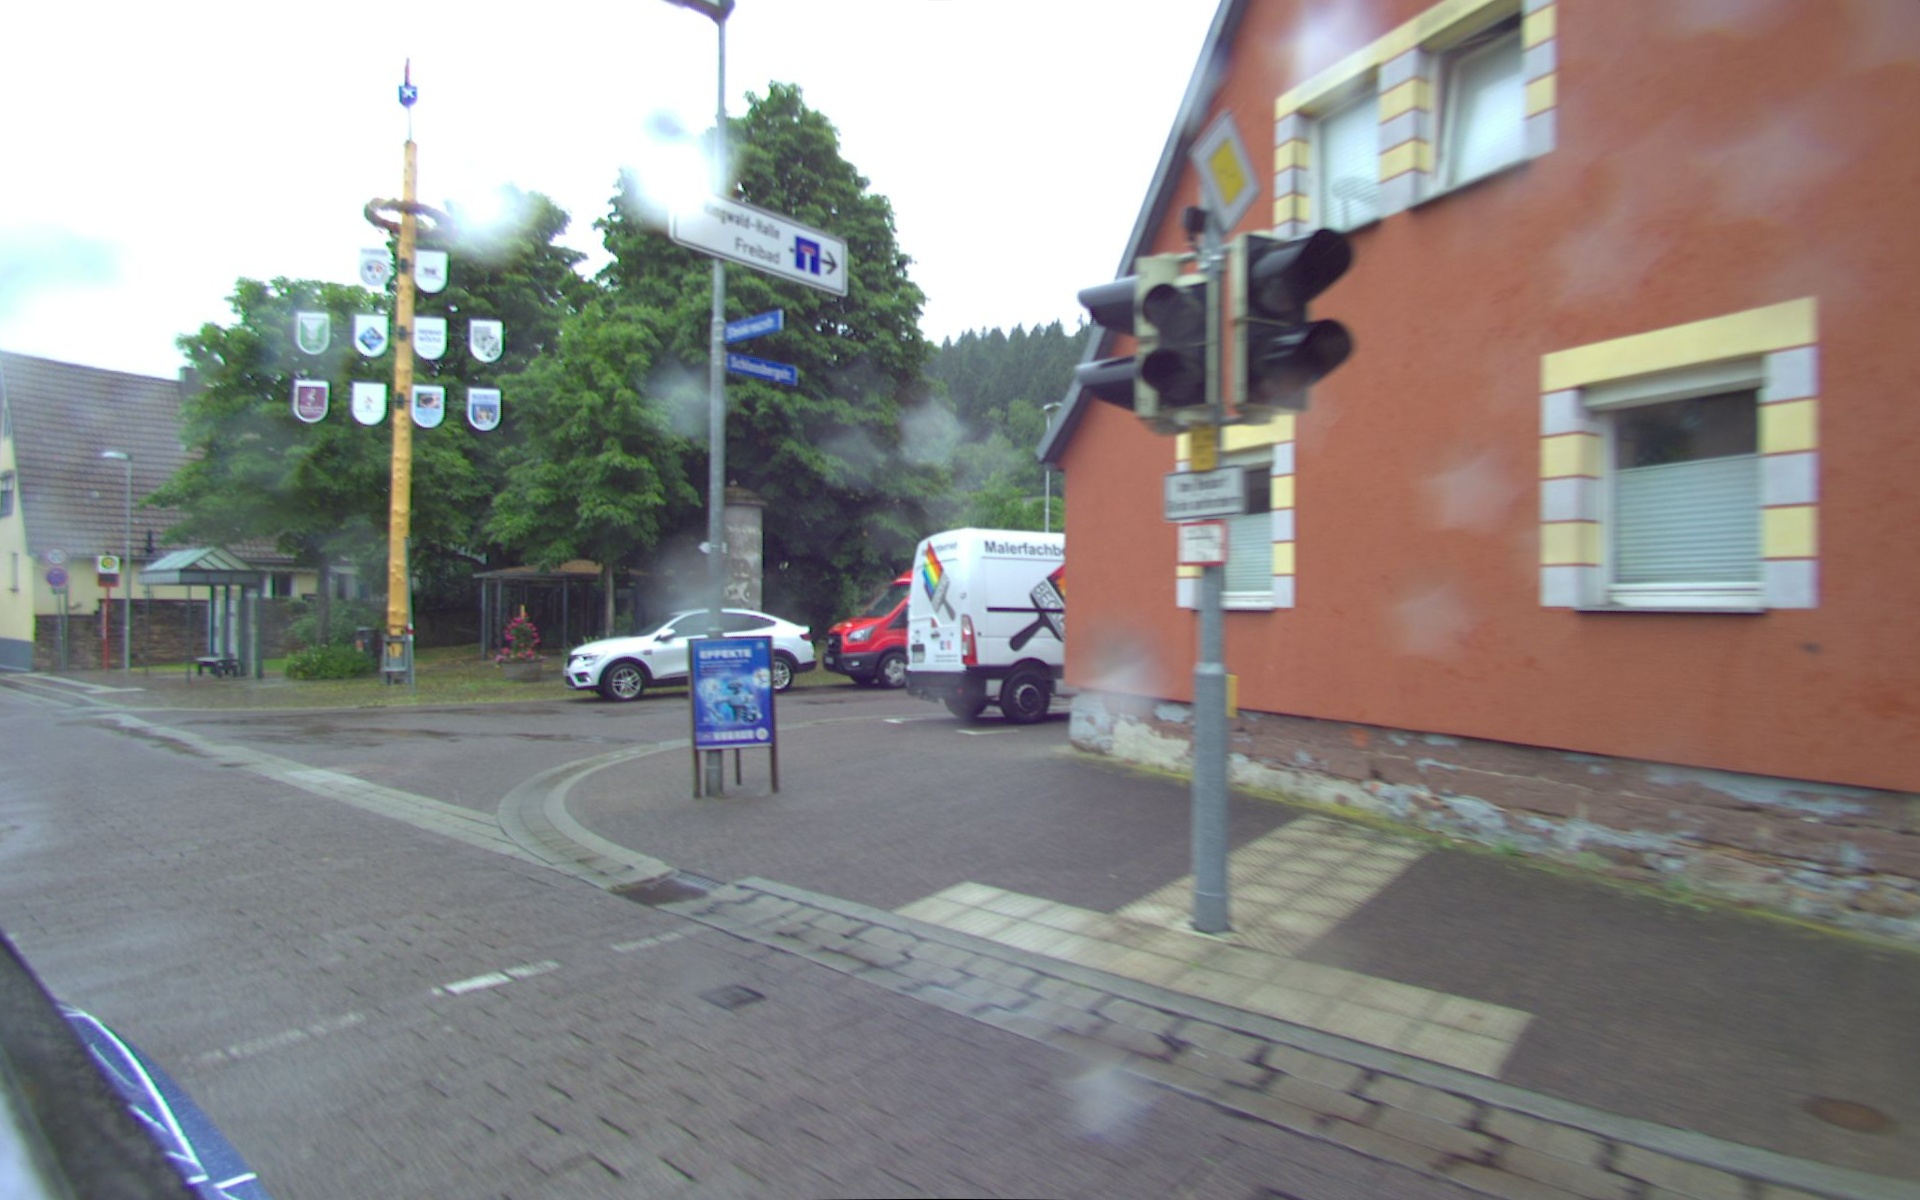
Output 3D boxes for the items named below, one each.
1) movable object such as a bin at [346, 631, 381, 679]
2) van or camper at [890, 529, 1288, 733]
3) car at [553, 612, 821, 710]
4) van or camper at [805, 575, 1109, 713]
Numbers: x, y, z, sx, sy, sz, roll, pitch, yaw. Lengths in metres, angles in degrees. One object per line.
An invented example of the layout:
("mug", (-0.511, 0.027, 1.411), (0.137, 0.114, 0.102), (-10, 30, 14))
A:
("movable object such as a bin", (-14.902, 1.369, 25.271), (0.604, 1.155, 0.556), (0, -1, 39))
("van or camper", (1.796, 0.449, 14.193), (5.069, 2.454, 2.218), (1, -3, -23))
("car", (-4.959, 1.051, 18.480), (4.383, 1.561, 1.888), (0, -2, -28))
("van or camper", (-0.038, 0.809, 20.523), (5.775, 2.492, 2.162), (0, -1, -24))
